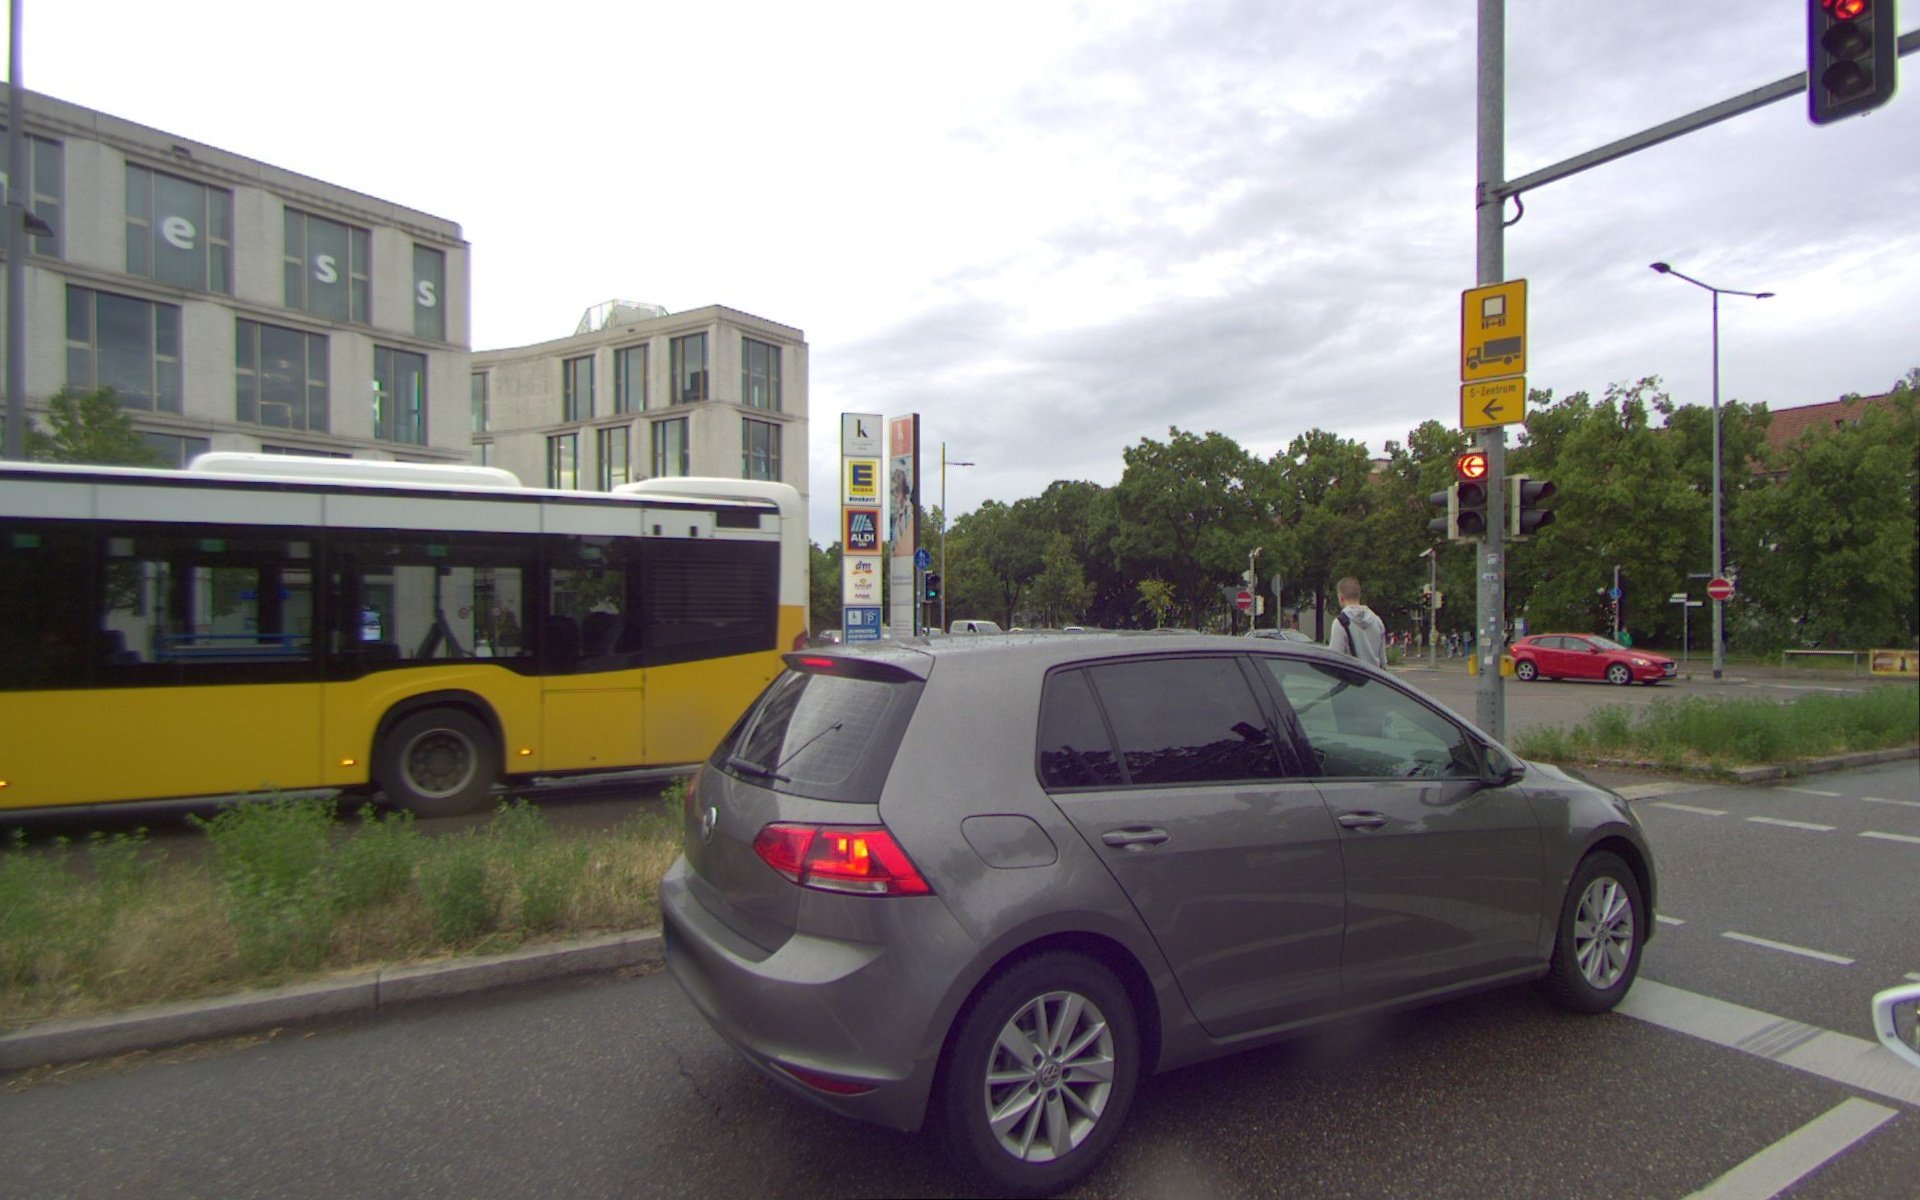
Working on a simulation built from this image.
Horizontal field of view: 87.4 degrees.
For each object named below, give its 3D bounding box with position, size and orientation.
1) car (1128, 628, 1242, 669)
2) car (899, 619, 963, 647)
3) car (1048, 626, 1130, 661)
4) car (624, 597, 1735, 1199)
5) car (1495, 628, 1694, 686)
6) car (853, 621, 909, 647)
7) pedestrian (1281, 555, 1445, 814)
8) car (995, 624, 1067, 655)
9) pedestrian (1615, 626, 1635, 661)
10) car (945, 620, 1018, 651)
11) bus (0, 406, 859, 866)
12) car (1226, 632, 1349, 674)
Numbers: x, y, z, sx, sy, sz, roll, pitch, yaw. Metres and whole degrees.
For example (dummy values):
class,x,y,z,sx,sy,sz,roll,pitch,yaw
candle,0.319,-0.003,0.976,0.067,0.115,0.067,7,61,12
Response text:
class,x,y,z,sx,sy,sz,roll,pitch,yaw
car,8.990,1.900,40.526,1.978,1.444,4.423,1,-1,-31
car,-1.816,2.016,61.265,1.941,1.551,4.507,1,-1,-31
car,5.932,1.986,46.489,1.825,1.444,3.753,1,-1,-31
car,0.997,0.803,3.959,4.147,1.448,1.798,2,-3,-30
car,18.350,1.598,29.268,1.977,1.444,4.504,1,-1,-30
car,-4.692,1.983,59.170,1.650,1.444,3.946,1,-1,-31
pedestrian,3.401,0.694,8.535,0.835,2.039,0.938,1,-4,-25
car,3.557,1.998,51.064,1.825,1.444,3.753,1,-1,-31
pedestrian,28.789,1.874,43.480,0.611,1.510,0.767,0,-1,44
car,1.123,1.936,55.670,1.941,1.551,4.507,1,-1,-31
bus,-5.463,0.332,9.712,8.465,3.351,2.878,1,-1,-27
car,13.070,2.070,40.306,1.978,1.444,4.502,1,-1,-31
